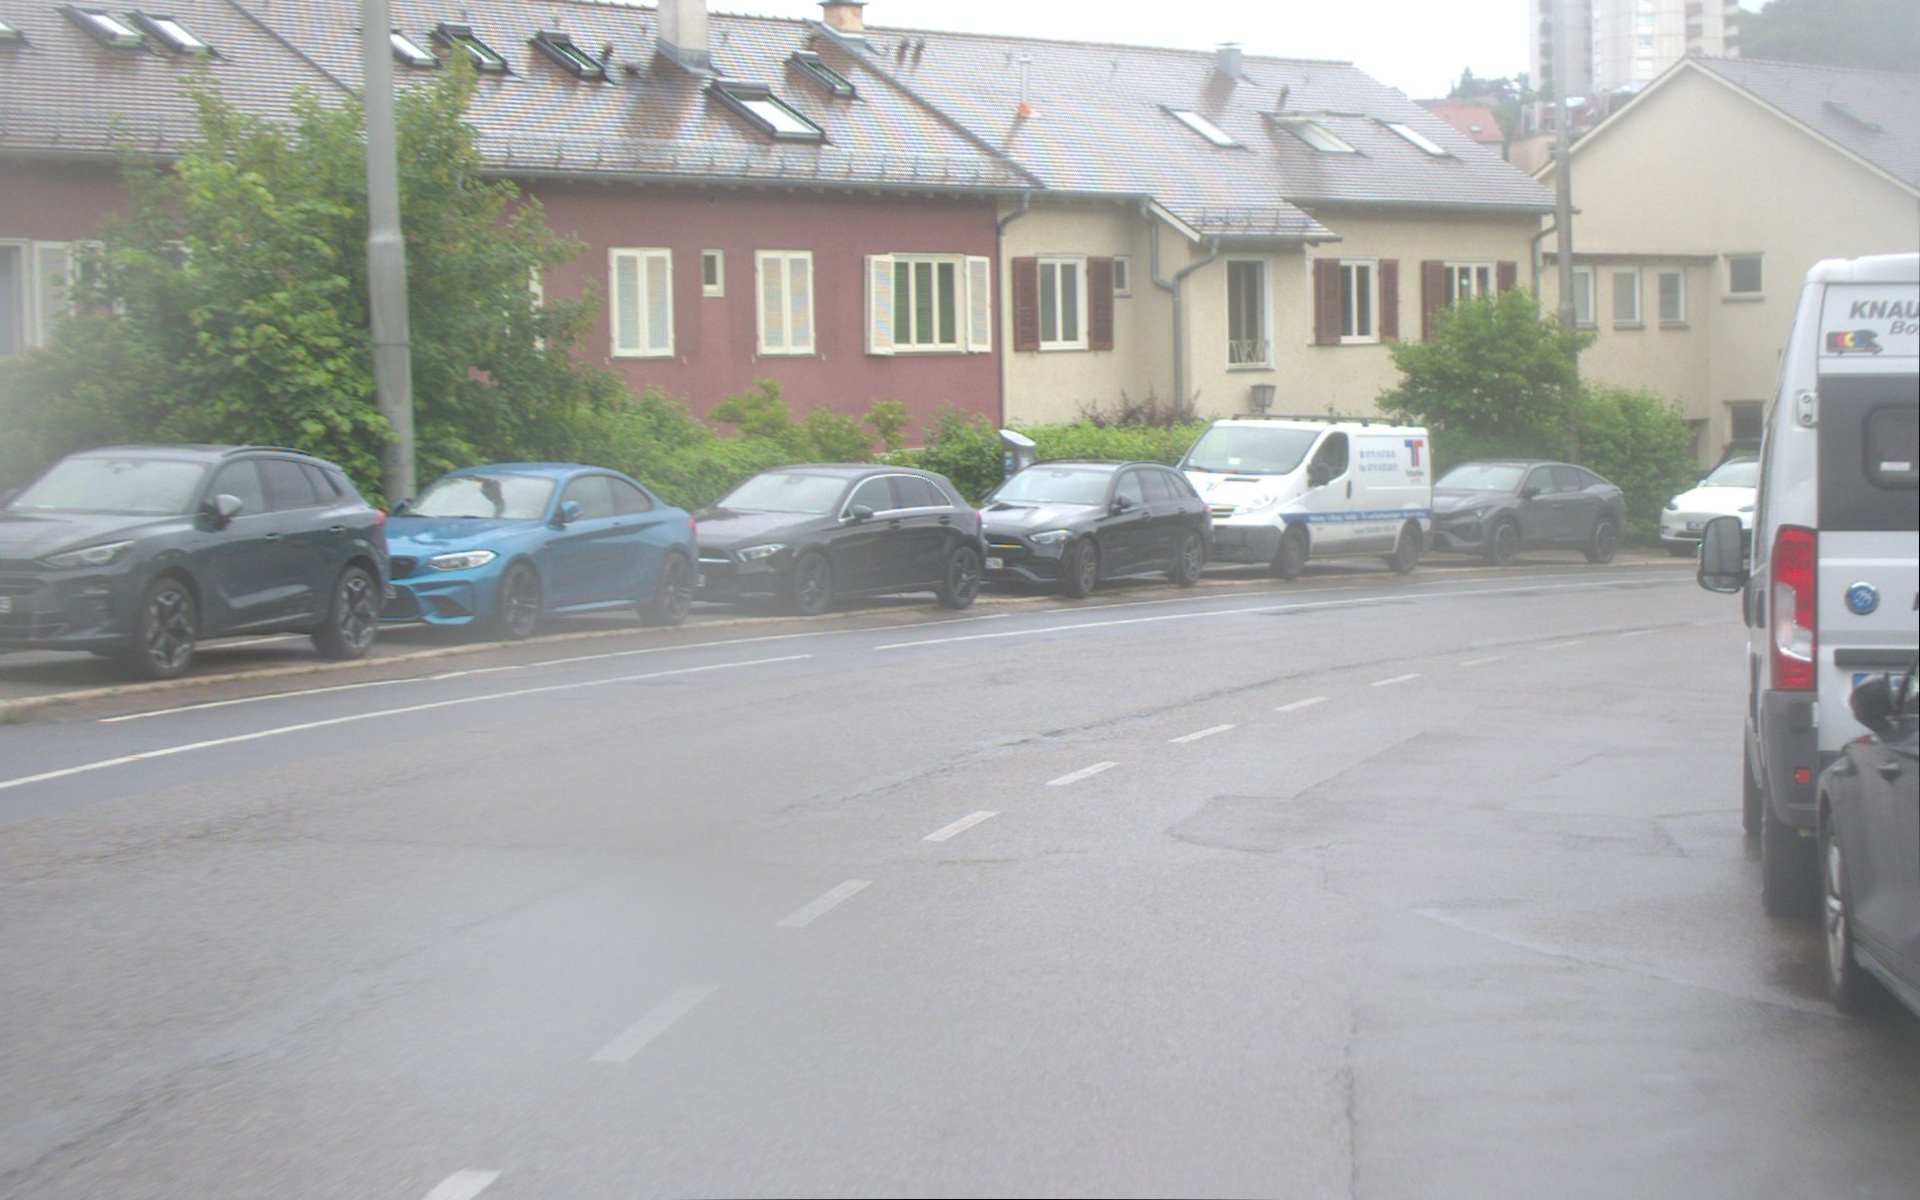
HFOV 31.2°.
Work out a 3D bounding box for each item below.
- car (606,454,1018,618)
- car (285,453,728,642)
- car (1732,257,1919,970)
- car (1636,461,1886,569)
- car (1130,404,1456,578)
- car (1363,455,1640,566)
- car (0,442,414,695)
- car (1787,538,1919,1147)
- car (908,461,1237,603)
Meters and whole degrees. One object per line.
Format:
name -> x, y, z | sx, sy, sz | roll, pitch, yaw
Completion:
car -> -1.391, -0.672, 34.212 | 1.811, 1.471, 4.514 | 3, 3, 32
car -> -3.758, -0.512, 29.317 | 1.701, 1.400, 4.468 | 3, 4, 23
car -> 4.467, -0.006, 14.870 | 2.100, 2.533, 5.617 | -1, 1, 12
car -> 12.887, -1.370, 55.142 | 1.934, 1.625, 4.667 | 4, 3, 40
car -> 4.337, -1.407, 44.074 | 1.852, 2.071, 5.010 | 3, 3, 36
car -> 7.752, -1.286, 48.893 | 1.812, 1.471, 4.512 | 4, 3, 39
car -> -5.788, -0.309, 24.475 | 1.923, 1.571, 4.384 | 3, 3, 18
car -> 3.379, 0.588, 9.361 | 1.754, 1.490, 4.183 | -1, 1, 8
car -> 1.347, -0.805, 39.091 | 1.811, 1.471, 4.515 | 3, 3, 30
